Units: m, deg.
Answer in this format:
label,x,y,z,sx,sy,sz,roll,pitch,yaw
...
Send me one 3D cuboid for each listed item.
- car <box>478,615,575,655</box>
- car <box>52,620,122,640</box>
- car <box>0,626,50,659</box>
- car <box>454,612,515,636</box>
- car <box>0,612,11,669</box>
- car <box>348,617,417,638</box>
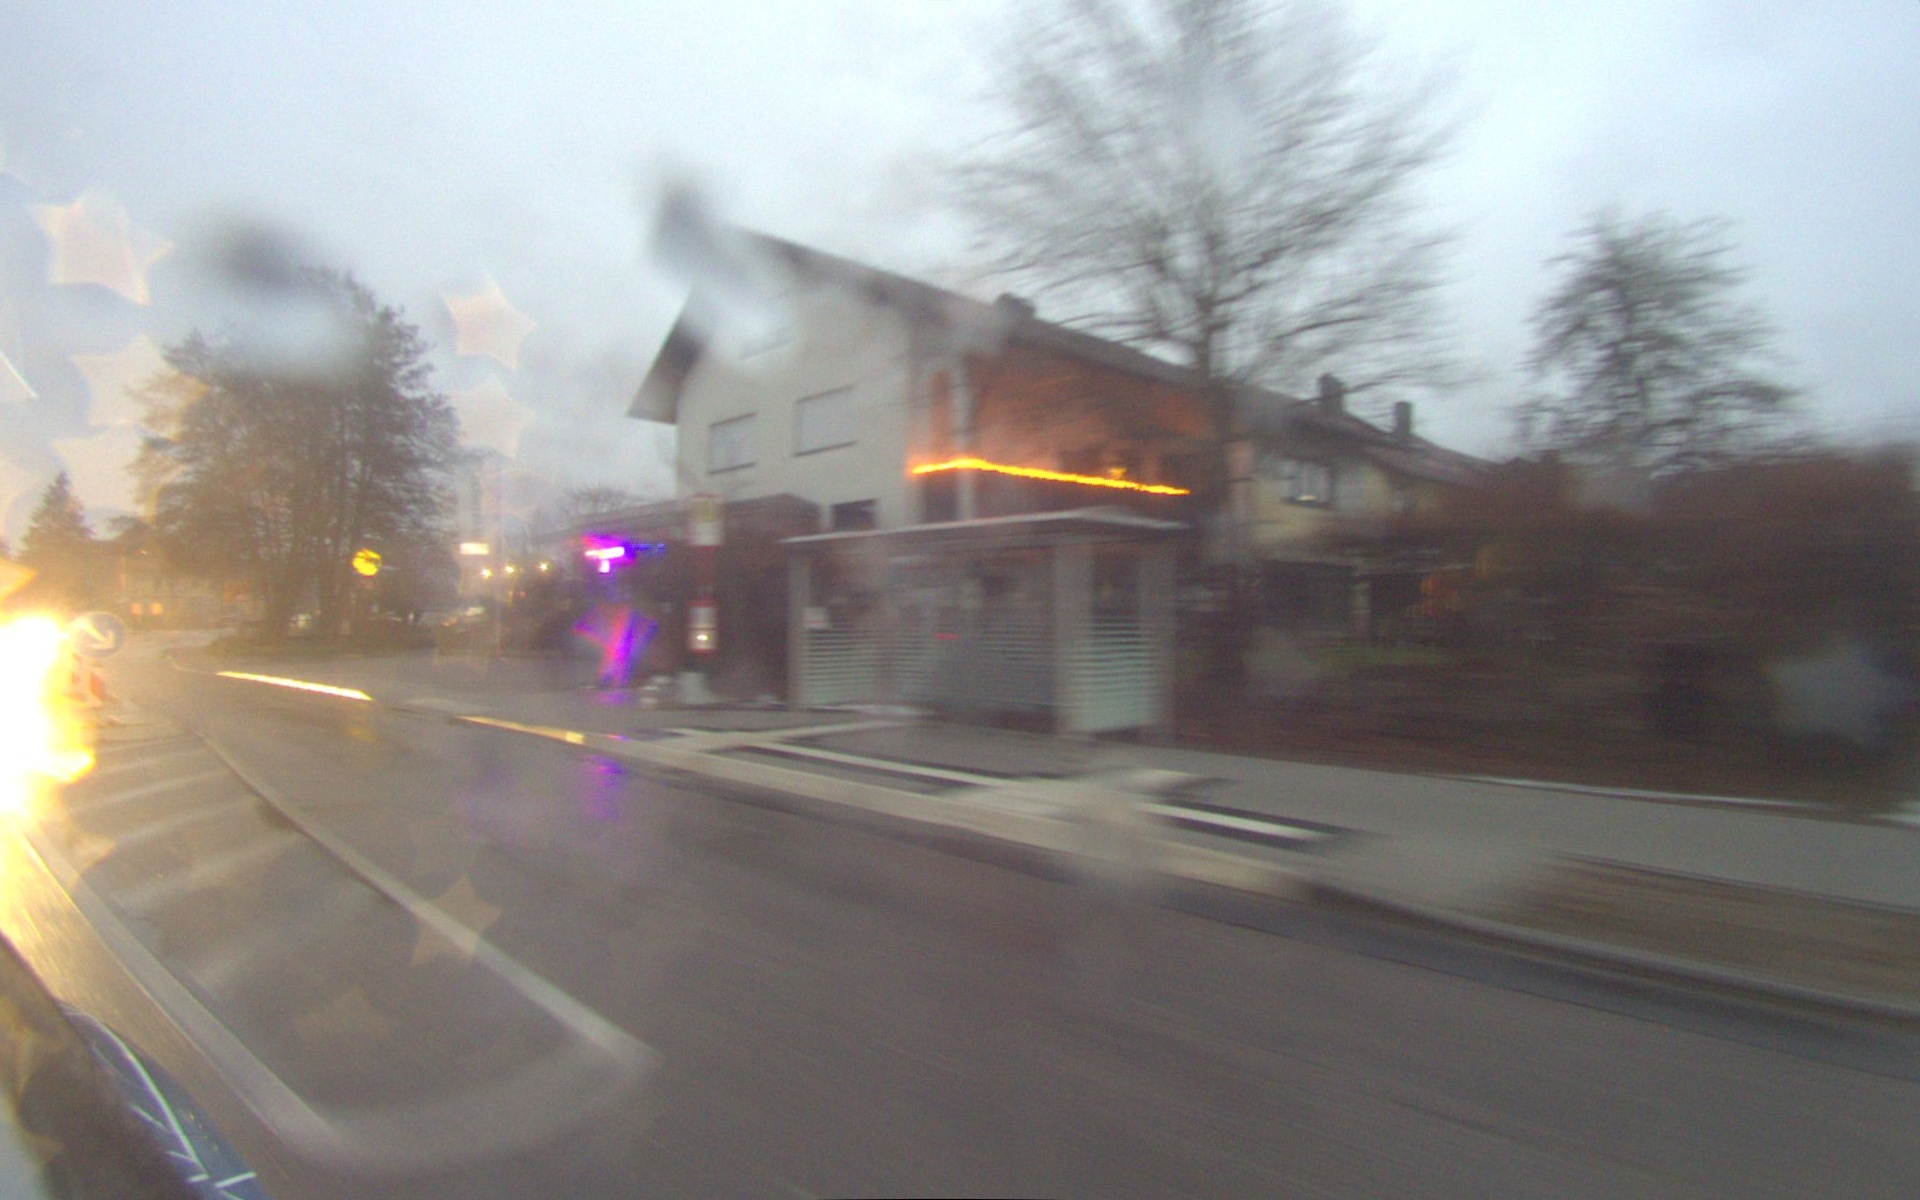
label,x,y,z,sx,sy,sz,roll,pitch,yaw
car,-24.603,1.978,57.569,2.127,1.992,4.597,-3,-1,41
car,-76.971,2.620,89.289,4.349,1.736,1.781,0,-1,-10
car,-44.680,1.997,48.005,1.968,1.484,4.008,-1,-1,-39
car,-47.875,2.423,102.004,5.124,2.300,2.221,3,-4,-43
car,-31.140,1.295,31.744,1.871,1.712,4.245,-3,1,-43
car,-48.476,2.312,84.989,4.714,1.725,2.035,0,-2,-44
